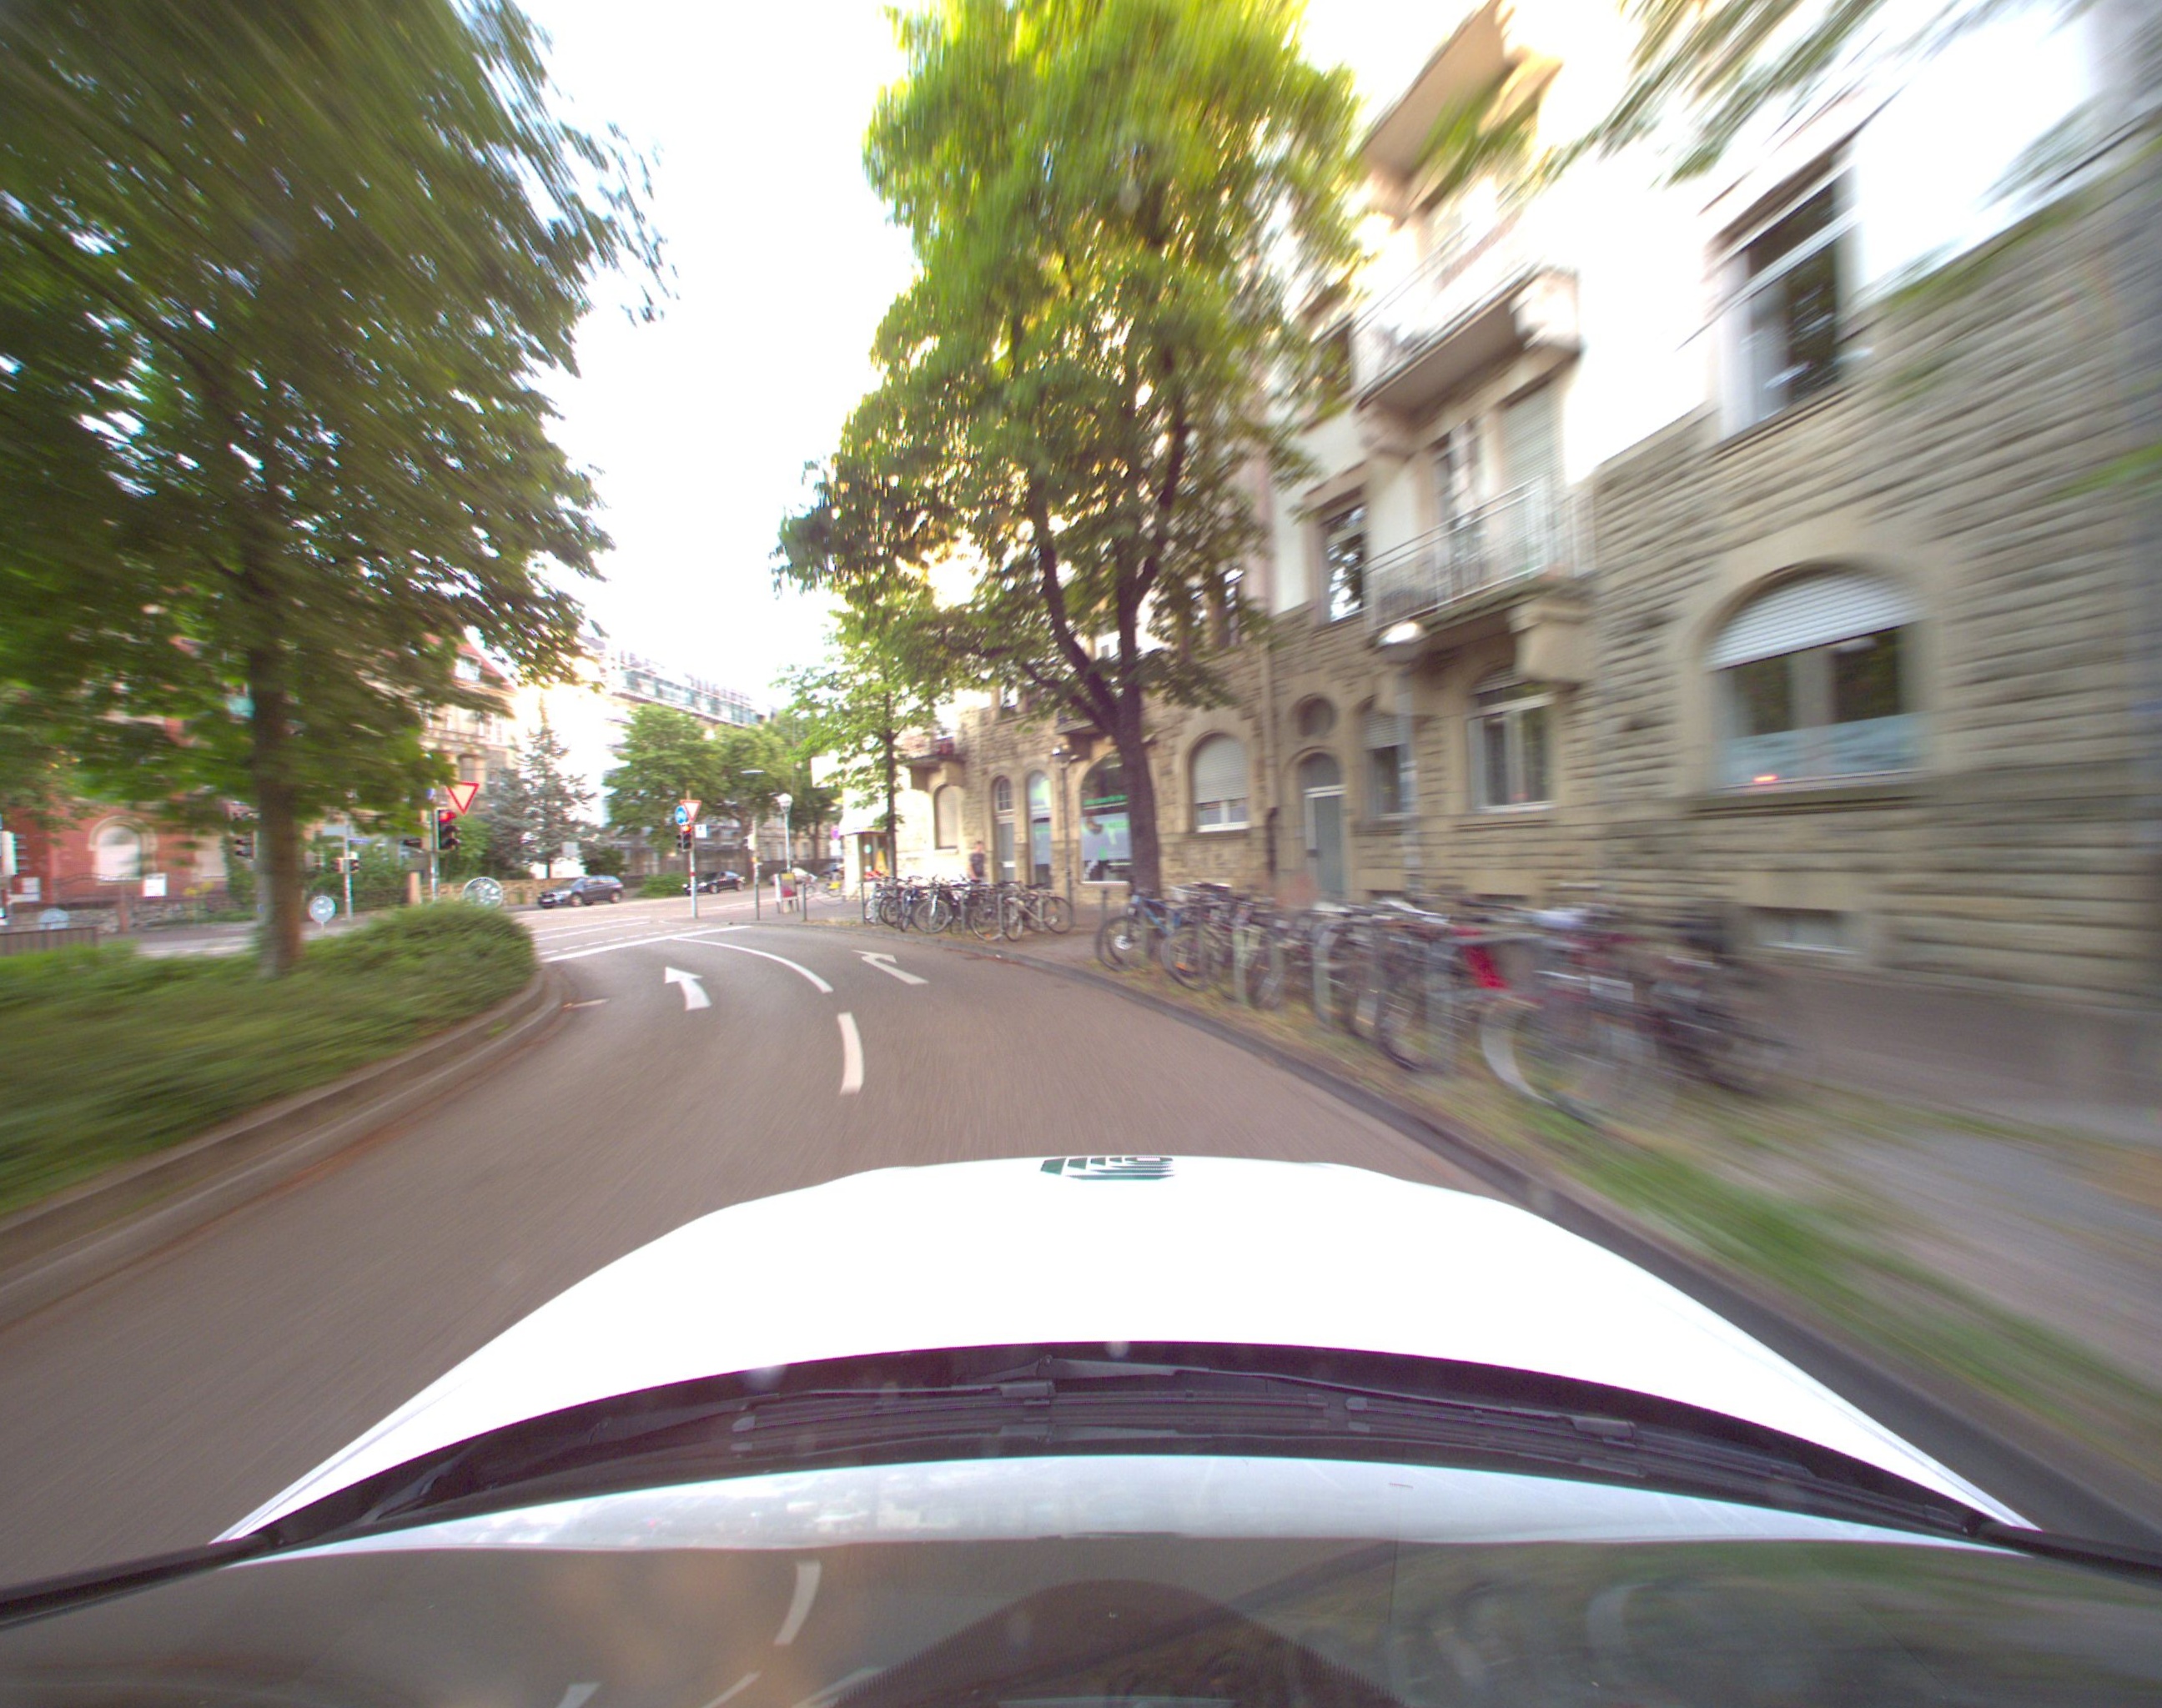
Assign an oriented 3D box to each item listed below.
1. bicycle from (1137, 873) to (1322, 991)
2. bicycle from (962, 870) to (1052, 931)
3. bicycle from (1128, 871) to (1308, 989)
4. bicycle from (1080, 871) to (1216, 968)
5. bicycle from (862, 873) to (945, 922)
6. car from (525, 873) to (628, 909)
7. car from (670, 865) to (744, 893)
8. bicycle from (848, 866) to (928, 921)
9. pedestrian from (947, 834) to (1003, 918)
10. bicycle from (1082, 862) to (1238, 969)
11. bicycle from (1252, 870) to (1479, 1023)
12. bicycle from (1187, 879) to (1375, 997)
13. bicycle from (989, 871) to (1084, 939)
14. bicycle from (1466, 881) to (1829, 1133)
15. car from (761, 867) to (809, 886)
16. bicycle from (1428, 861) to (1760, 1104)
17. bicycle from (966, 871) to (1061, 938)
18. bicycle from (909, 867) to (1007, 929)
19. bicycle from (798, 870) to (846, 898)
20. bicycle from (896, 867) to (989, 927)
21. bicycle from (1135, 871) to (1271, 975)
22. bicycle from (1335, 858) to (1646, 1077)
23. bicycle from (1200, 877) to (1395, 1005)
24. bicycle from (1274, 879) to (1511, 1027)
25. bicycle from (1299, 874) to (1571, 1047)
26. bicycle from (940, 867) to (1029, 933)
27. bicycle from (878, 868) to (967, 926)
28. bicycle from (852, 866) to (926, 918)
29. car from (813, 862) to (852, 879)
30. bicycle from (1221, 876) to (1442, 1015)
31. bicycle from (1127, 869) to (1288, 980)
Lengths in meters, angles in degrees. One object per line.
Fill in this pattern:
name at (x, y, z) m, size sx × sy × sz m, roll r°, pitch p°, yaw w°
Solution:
bicycle at (1.638, 0.848, 9.016) m, size 1.854 × 1.091 × 0.416 m, roll -3°, pitch -19°, yaw -18°
bicycle at (-1.448, 0.901, 16.123) m, size 1.679 × 1.078 × 0.482 m, roll -3°, pitch 0°, yaw -28°
bicycle at (1.549, 0.849, 9.276) m, size 1.854 × 1.129 × 0.416 m, roll -3°, pitch -19°, yaw -18°
bicycle at (0.926, 0.841, 10.990) m, size 1.891 × 1.139 × 0.487 m, roll -1°, pitch 3°, yaw -31°
bicycle at (-4.263, 1.034, 19.657) m, size 1.817 × 1.038 × 0.691 m, roll -3°, pitch 0°, yaw -44°
car at (-25.845, 1.849, 41.923) m, size 1.932 × 1.510 × 4.432 m, roll -3°, pitch 0°, yaw 10°
car at (-24.048, 1.591, 52.541) m, size 1.932 × 1.510 × 4.645 m, roll -3°, pitch 0°, yaw 10°
bicycle at (-4.798, 0.961, 20.331) m, size 1.803 × 1.236 × 0.691 m, roll -3°, pitch 0°, yaw -44°
pedestrian at (-2.754, 0.555, 21.168) m, size 1.017 × 2.085 × 1.050 m, roll -4°, pitch 1°, yaw -31°
bicycle at (1.030, 0.787, 10.568) m, size 1.884 × 1.217 × 0.489 m, roll -3°, pitch -6°, yaw -18°
bicycle at (2.419, 0.747, 6.924) m, size 1.852 × 1.116 × 0.417 m, roll -3°, pitch 0°, yaw -14°
bicycle at (2.018, 0.804, 8.172) m, size 1.854 × 0.999 × 0.416 m, roll -3°, pitch 0°, yaw -18°
bicycle at (-0.792, 0.890, 14.734) m, size 1.682 × 1.078 × 0.481 m, roll -3°, pitch 0°, yaw -35°
bicycle at (2.946, 0.728, 4.235) m, size 1.793 × 1.063 × 0.445 m, roll -3°, pitch 0°, yaw -14°
car at (-25.411, 1.913, 70.093) m, size 1.994 × 1.426 × 4.640 m, roll -3°, pitch 0°, yaw 6°
bicycle at (2.925, 0.670, 4.647) m, size 1.793 × 1.168 × 0.445 m, roll -3°, pitch 0°, yaw -14°
bicycle at (-1.231, 0.907, 15.048) m, size 1.682 × 1.078 × 0.481 m, roll -3°, pitch 0°, yaw -35°
bicycle at (-2.610, 0.912, 17.375) m, size 1.899 × 1.162 × 0.697 m, roll -3°, pitch 0°, yaw -34°
bicycle at (-11.424, 1.313, 35.920) m, size 1.884 × 1.130 × 0.724 m, roll -3°, pitch 0°, yaw -30°
bicycle at (-3.046, 0.930, 17.990) m, size 1.899 × 1.162 × 0.634 m, roll -3°, pitch 0°, yaw -34°
bicycle at (1.564, 0.819, 10.247) m, size 1.865 × 1.104 × 0.567 m, roll -3°, pitch 0°, yaw -41°
bicycle at (2.686, 0.674, 5.339) m, size 1.919 × 1.200 × 0.549 m, roll -3°, pitch 0°, yaw -16°
bicycle at (2.107, 0.809, 7.896) m, size 1.854 × 1.051 × 0.416 m, roll -3°, pitch 0°, yaw -18°
bicycle at (2.530, 0.763, 6.618) m, size 1.852 × 1.014 × 0.417 m, roll -3°, pitch 0°, yaw -14°
bicycle at (2.646, 0.736, 6.082) m, size 1.919 × 1.065 × 0.549 m, roll -3°, pitch 0°, yaw -16°
bicycle at (-1.909, 0.892, 16.211) m, size 1.679 × 1.127 × 0.482 m, roll -3°, pitch 6°, yaw -27°
bicycle at (-3.575, 0.957, 18.512) m, size 1.903 × 1.162 × 0.632 m, roll -3°, pitch 0°, yaw -44°
bicycle at (-5.045, 0.988, 21.478) m, size 0.643 × 1.236 × 1.804 m, roll -3°, pitch 0°, yaw 44°
car at (-24.441, 1.616, 80.334) m, size 1.932 × 1.482 × 4.180 m, roll -3°, pitch 0°, yaw 10°
bicycle at (2.291, 0.794, 7.449) m, size 1.919 × 1.061 × 0.532 m, roll -3°, pitch 0°, yaw -17°
bicycle at (1.510, 0.806, 9.685) m, size 1.854 × 1.144 × 0.416 m, roll -3°, pitch 0°, yaw -18°
